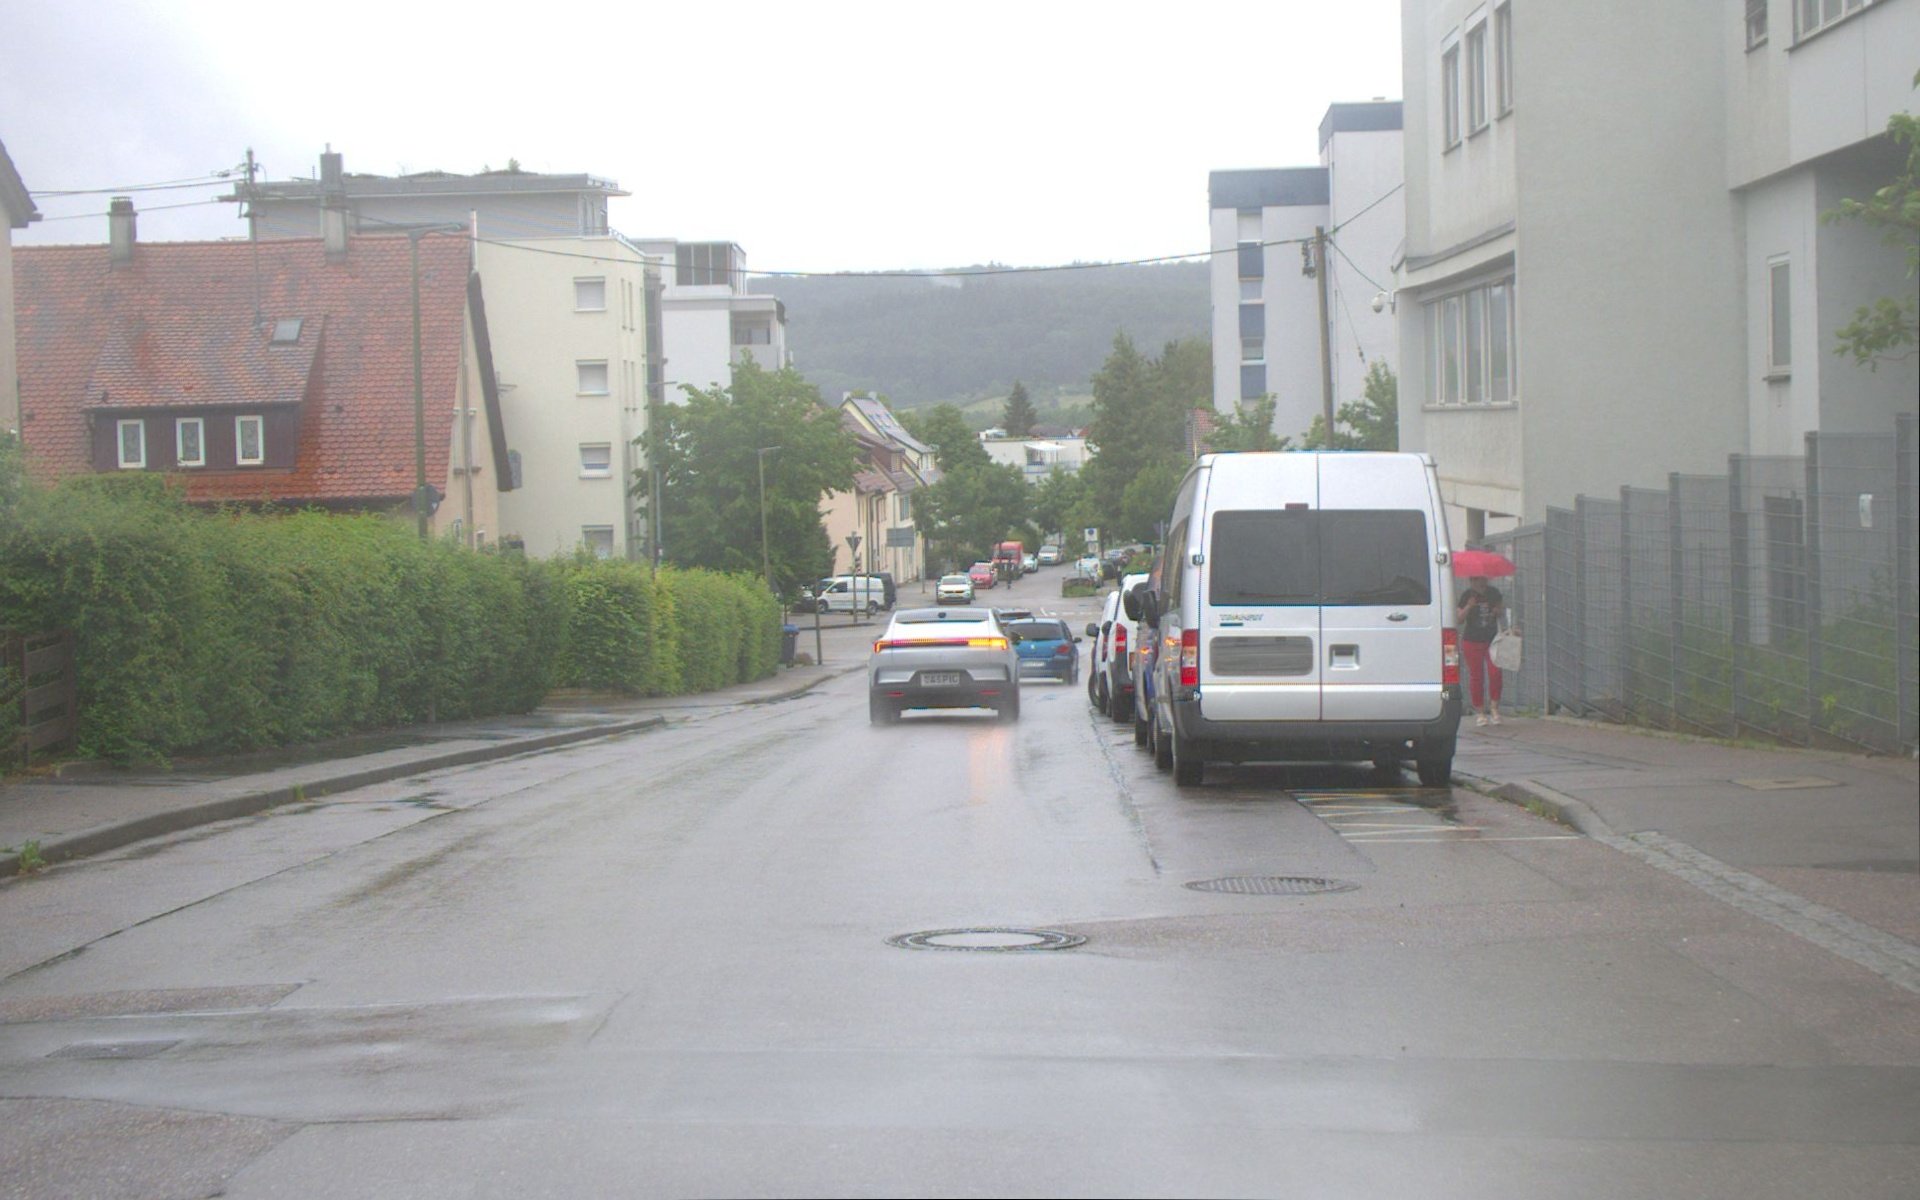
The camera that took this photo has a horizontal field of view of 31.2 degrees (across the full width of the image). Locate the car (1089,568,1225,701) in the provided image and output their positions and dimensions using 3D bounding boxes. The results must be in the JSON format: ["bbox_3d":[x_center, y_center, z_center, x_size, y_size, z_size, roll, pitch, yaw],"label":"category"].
[{"bbox_3d":[2.895,0.500,51.255,1.878,1.827,4.488,-2,0,2],"label":"car"}]

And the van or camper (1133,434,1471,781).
[{"bbox_3d":[2.417,0.042,25.669,1.993,2.235,5.441,-3,0,1],"label":"van or camper"}]

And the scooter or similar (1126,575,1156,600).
[{"bbox_3d":[8.334,-0.571,158.405,1.268,1.078,0.876,-3,1,-2],"label":"scooter or similar"}]

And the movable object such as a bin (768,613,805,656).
[{"bbox_3d":[-5.448,1.086,108.000,1.071,1.343,1.319,0,0,0],"label":"movable object such as a bin"}]

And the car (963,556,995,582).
[{"bbox_3d":[1.251,-2.046,224.534,1.901,1.553,4.191,-3,1,3],"label":"car"}]

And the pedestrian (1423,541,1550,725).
[{"bbox_3d":[5.249,0.316,34.319,1.023,1.752,1.031,-3,1,-1],"label":"pedestrian"}]

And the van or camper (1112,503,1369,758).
[{"bbox_3d":[2.535,0.254,32.229,1.993,2.106,5.202,-3,0,1],"label":"van or camper"}]

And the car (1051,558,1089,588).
[{"bbox_3d":[6.460,-1.582,201.620,2.146,1.583,4.128,-3,1,3],"label":"car"}]

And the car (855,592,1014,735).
[{"bbox_3d":[-0.331,0.818,46.659,1.993,1.678,4.000,-3,1,0],"label":"car"}]

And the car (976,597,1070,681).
[{"bbox_3d":[1.400,0.872,78.236,1.993,1.678,4.000,-3,1,0],"label":"car"}]

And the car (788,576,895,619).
[{"bbox_3d":[-5.782,-0.146,168.142,4.830,1.829,2.000,-4,1,-36],"label":"car"}]

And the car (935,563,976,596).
[{"bbox_3d":[-0.221,-1.123,188.109,1.994,1.620,4.191,-3,1,3],"label":"car"}]

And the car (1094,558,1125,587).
[{"bbox_3d":[9.718,-1.825,223.550,1.901,1.739,4.191,-3,1,3],"label":"car"}]

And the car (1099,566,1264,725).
[{"bbox_3d":[2.877,0.582,45.541,1.993,1.928,4.975,-2,0,2],"label":"car"}]
